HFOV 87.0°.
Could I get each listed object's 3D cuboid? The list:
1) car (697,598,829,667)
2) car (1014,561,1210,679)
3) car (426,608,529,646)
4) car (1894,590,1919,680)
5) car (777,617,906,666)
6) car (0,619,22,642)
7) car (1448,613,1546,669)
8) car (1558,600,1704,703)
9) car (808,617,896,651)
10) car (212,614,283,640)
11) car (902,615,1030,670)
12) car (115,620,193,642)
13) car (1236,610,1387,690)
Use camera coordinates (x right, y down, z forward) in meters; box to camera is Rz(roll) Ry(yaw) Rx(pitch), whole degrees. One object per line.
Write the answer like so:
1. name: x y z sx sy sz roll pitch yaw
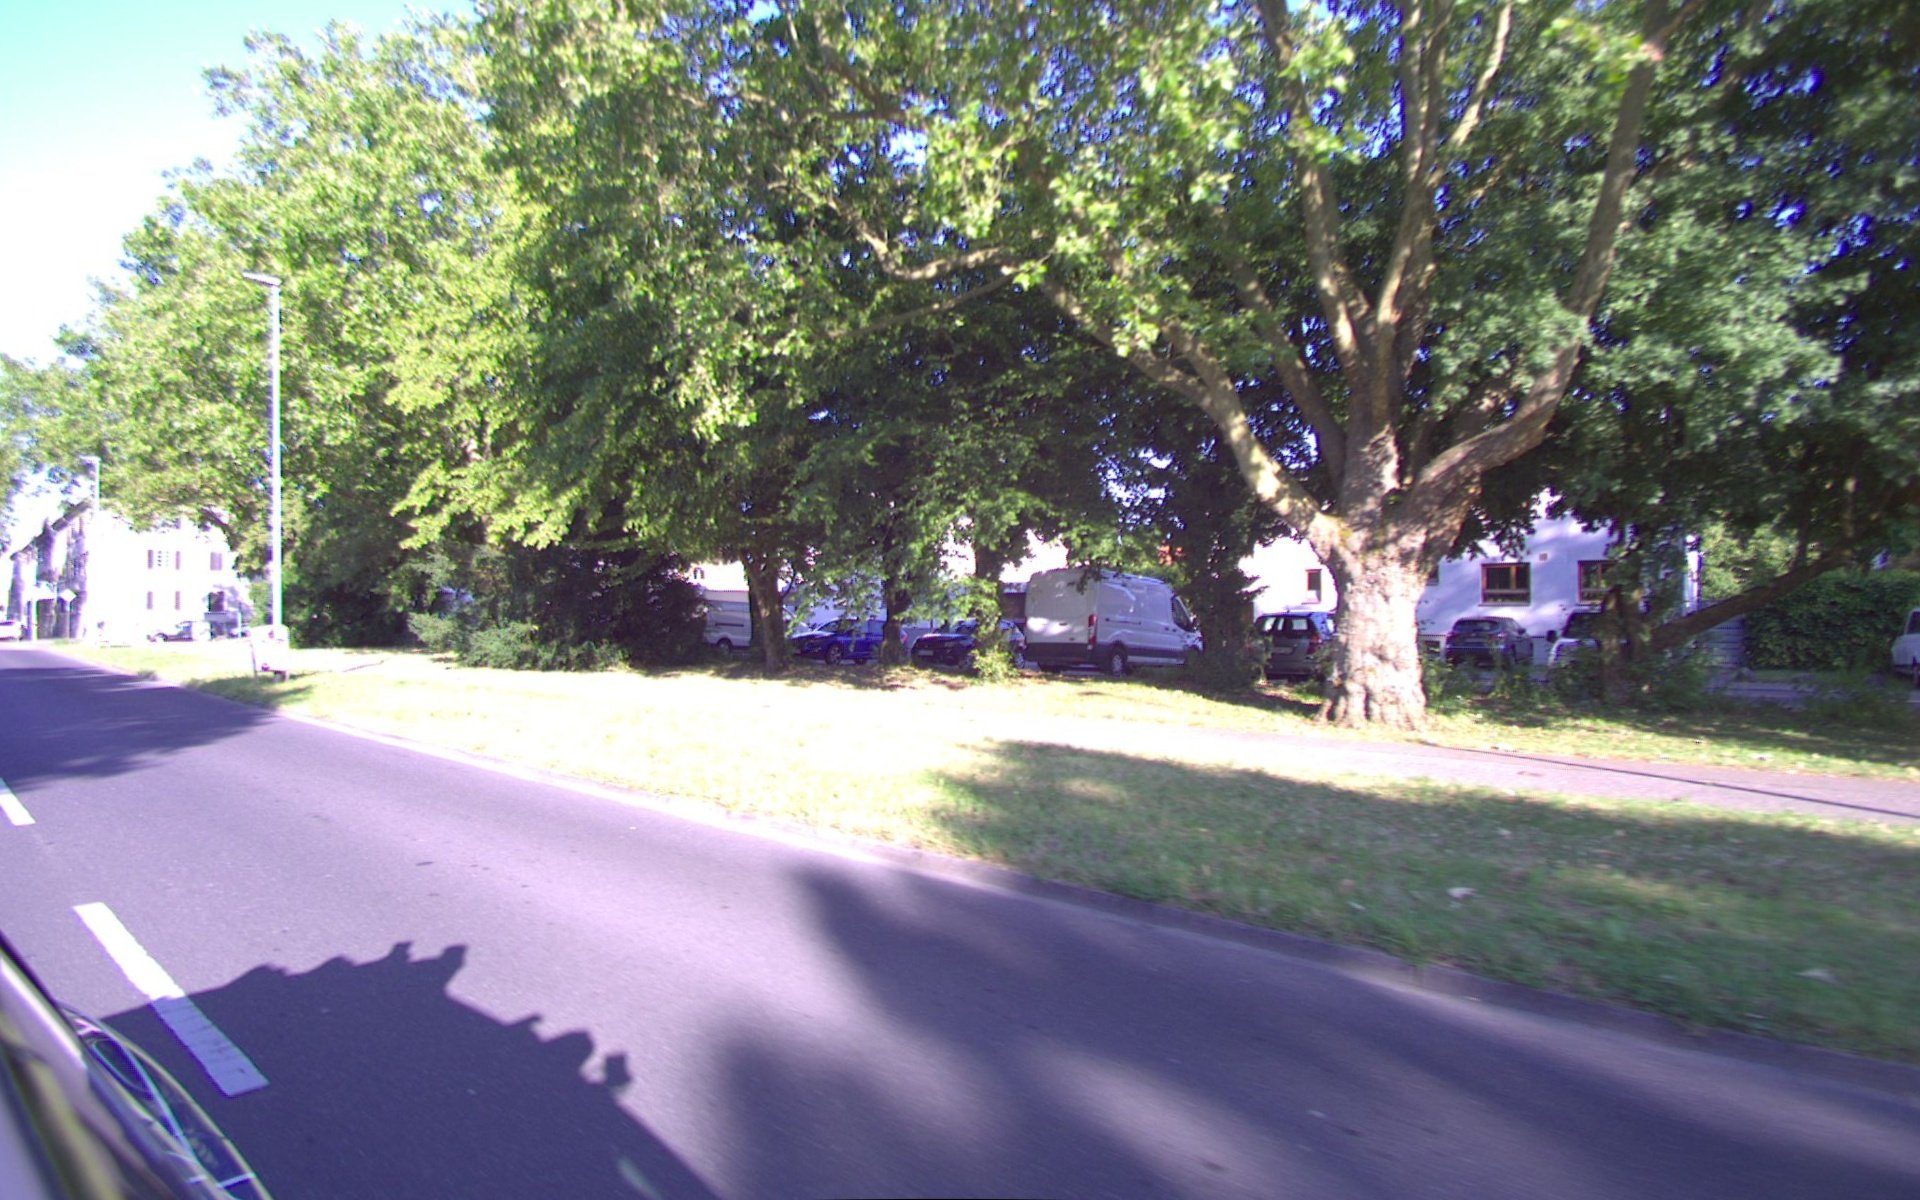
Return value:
1. car: -6.300 1.032 32.768 1.904 2.060 3.952 -3 -2 35
2. car: 3.807 0.554 24.481 2.185 2.521 5.374 -1 -3 40
3. car: -22.336 1.278 46.982 1.726 1.697 3.946 -1 -3 40
4. car: 23.580 0.822 23.598 1.995 2.029 4.507 0 1 34
5. car: -3.554 1.228 30.917 1.691 1.392 3.891 -1 -2 39
6. car: -65.763 2.130 69.577 1.741 1.494 4.111 -2 0 -44
7. car: 16.256 1.210 30.550 1.922 1.564 3.948 -1 -2 39
8. car: 11.960 0.870 18.022 1.949 1.608 4.088 -1 -2 35
9. car: -5.162 1.637 48.854 1.924 1.564 3.944 -1 -2 42
10. car: -49.428 1.881 70.309 3.933 1.573 1.870 -2 1 -34
11. car: 0.222 1.113 27.245 1.691 1.392 3.446 -1 -2 39
12. car: -53.781 2.083 67.624 3.933 1.429 1.919 1 -3 -34
13. car: 7.385 0.984 21.073 1.812 1.511 3.689 -1 -2 39
